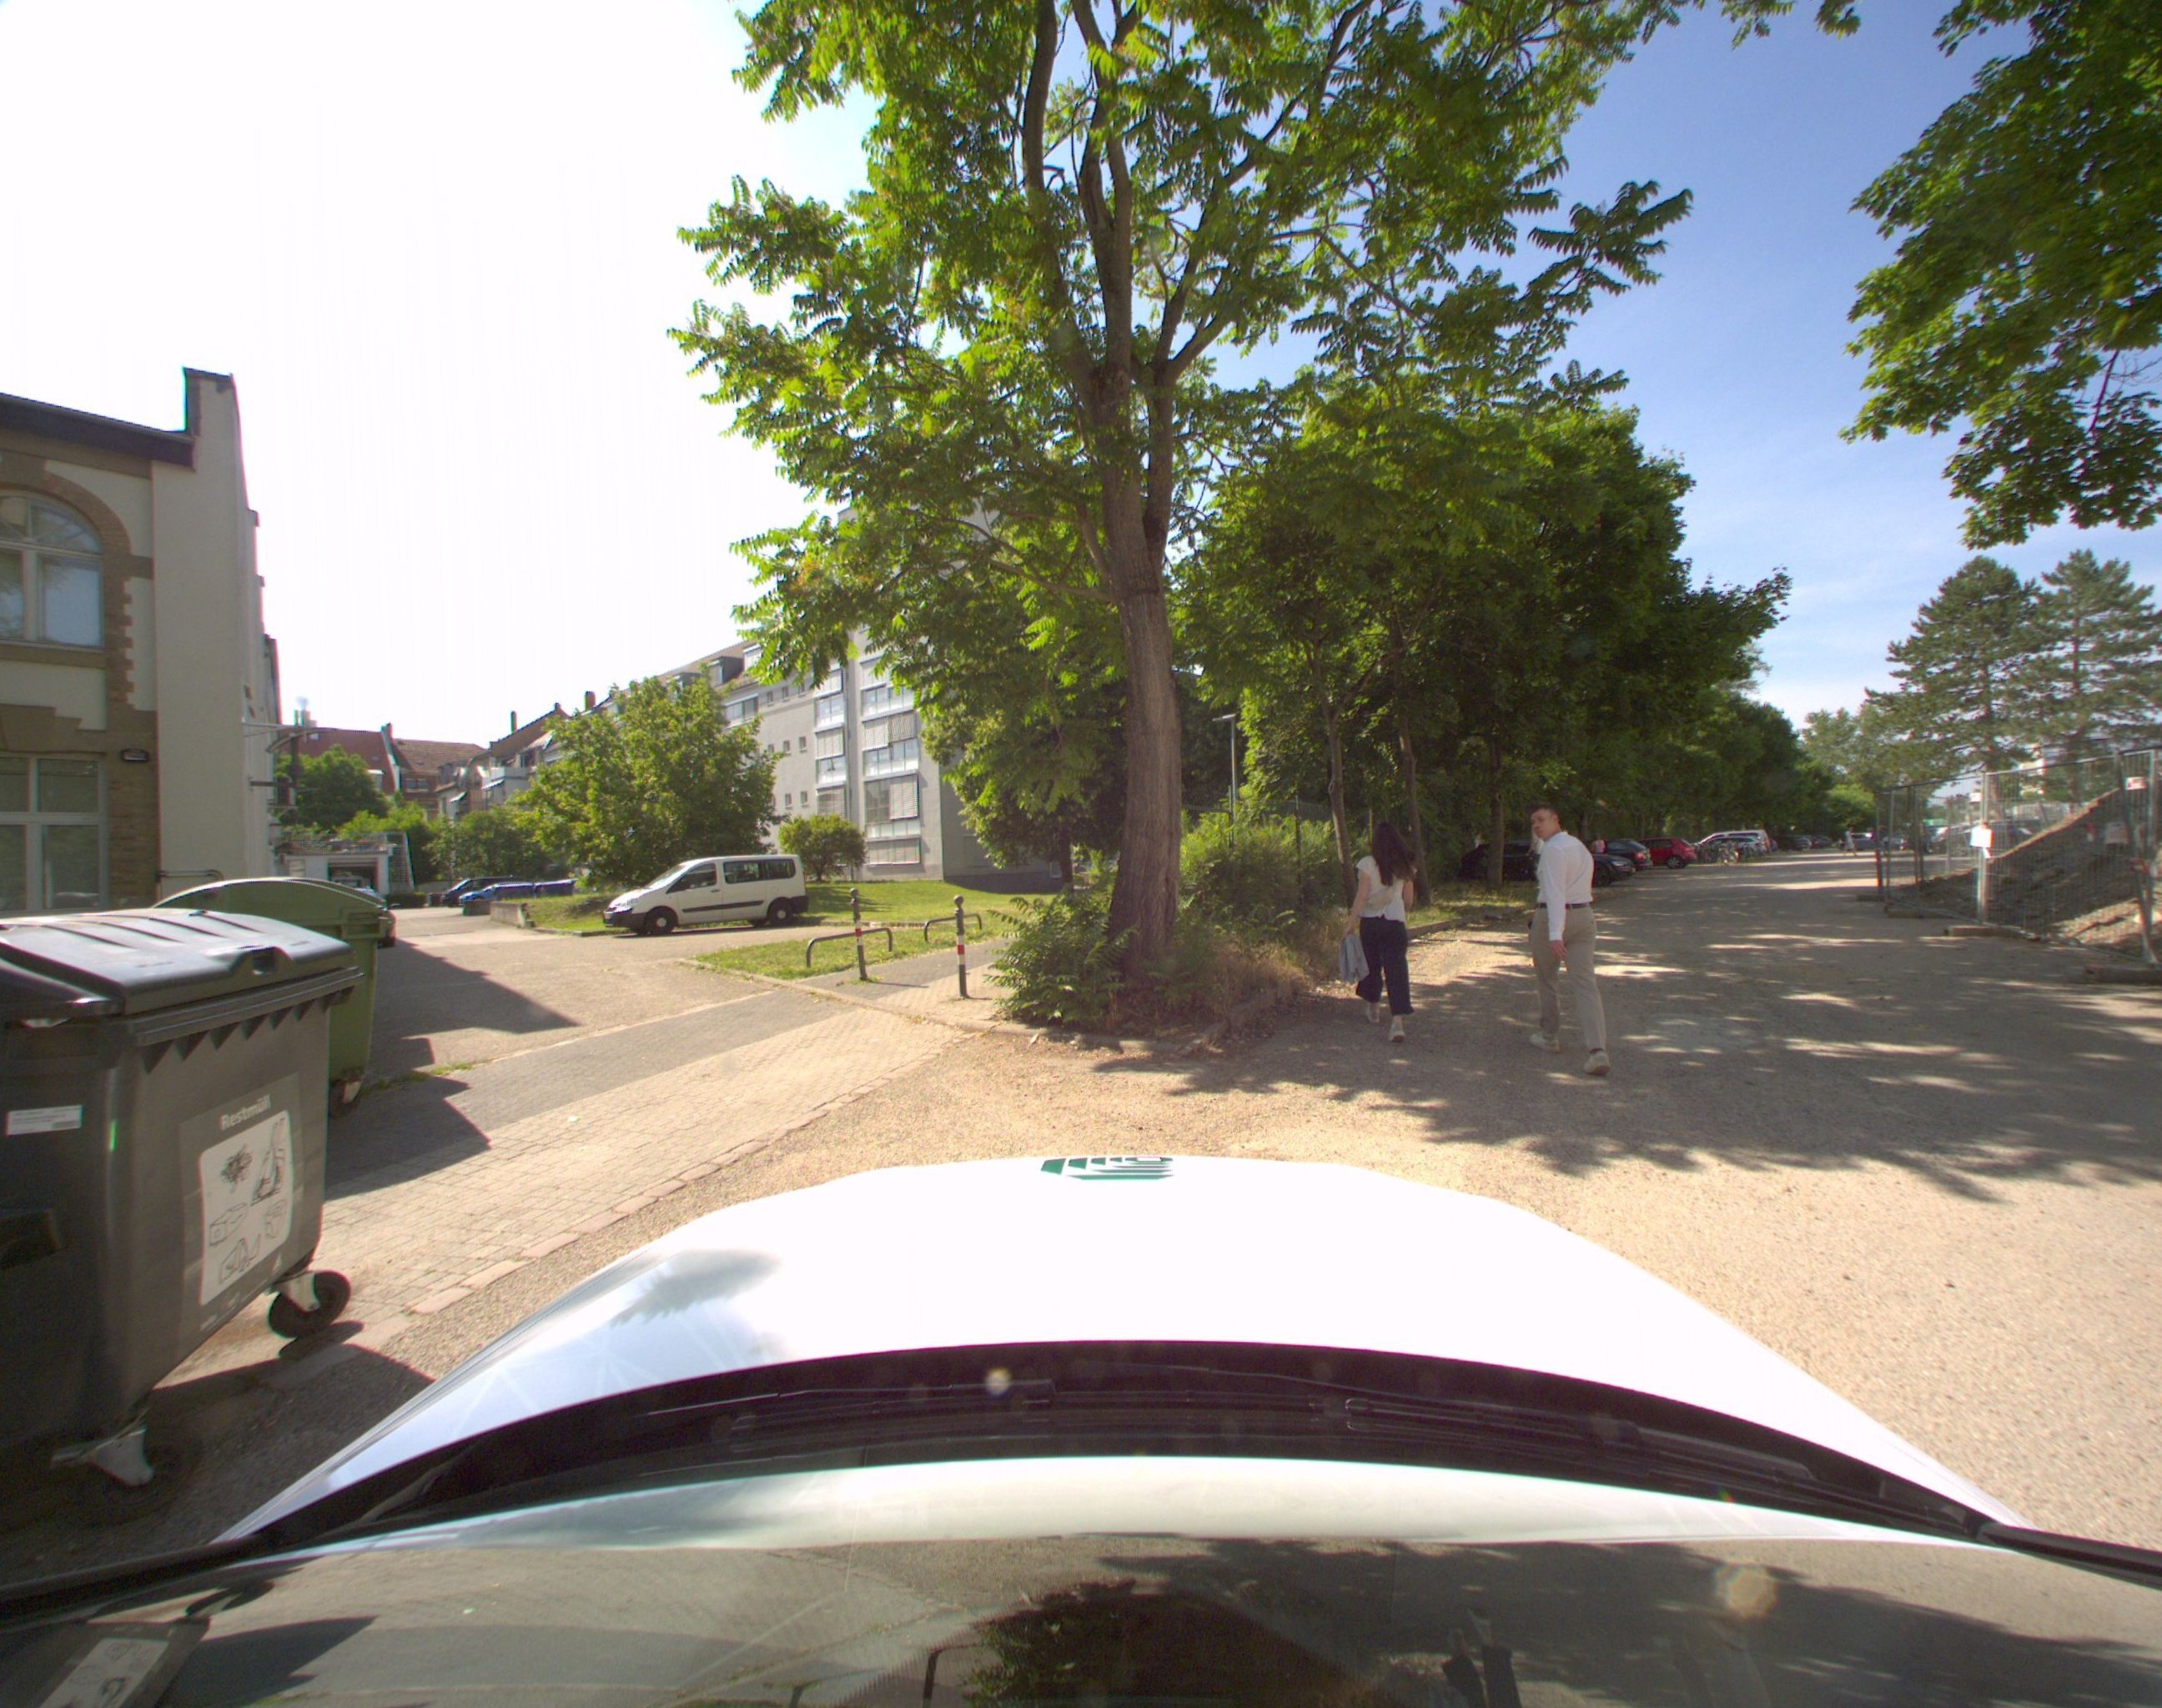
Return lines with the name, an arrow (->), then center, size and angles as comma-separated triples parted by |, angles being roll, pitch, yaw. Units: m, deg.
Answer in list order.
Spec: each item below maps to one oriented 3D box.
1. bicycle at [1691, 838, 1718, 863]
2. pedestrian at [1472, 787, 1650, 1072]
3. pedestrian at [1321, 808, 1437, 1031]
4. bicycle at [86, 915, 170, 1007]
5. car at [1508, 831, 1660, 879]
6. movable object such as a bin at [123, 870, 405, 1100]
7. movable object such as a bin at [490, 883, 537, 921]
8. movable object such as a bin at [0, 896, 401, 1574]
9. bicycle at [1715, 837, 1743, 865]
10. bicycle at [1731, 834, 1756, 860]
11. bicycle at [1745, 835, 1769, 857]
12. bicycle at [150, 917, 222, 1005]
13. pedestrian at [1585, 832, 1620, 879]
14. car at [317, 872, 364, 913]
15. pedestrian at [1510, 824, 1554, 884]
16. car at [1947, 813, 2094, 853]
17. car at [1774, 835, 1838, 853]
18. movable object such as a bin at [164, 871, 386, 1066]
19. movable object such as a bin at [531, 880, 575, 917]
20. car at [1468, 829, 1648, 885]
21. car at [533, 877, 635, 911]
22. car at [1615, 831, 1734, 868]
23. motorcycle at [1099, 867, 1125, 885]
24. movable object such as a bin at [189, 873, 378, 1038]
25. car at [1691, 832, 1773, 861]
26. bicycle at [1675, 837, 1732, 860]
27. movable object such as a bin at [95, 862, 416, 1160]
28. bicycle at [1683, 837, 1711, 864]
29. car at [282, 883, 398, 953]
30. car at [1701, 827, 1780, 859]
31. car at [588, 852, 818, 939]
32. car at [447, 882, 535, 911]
bicycle -> 34.363, -0.215, 44.879 | 0.809, 1.284, 2.700 | -2, 0, 45
pedestrian -> 3.149, 0.463, 5.432 | 0.750, 1.728, 0.857 | -2, 0, 13
pedestrian -> 2.326, 0.485, 6.441 | 0.730, 1.640, 0.784 | -2, 0, 14
bicycle -> -12.183, 1.328, 10.445 | 0.448, 0.992, 1.610 | -3, 1, -42
car -> 18.563, 0.048, 30.139 | 4.610, 1.584, 2.013 | -2, 1, 37
movable object such as a bin -> -6.061, 0.869, 6.070 | 1.207, 1.431, 1.256 | -3, -1, 35
movable object such as a bin -> -21.809, 1.836, 31.286 | 1.258, 1.319, 1.128 | -5, 0, -43
movable object such as a bin -> -2.899, 0.864, 2.235 | 1.251, 1.397, 1.392 | -2, -1, -26
bicycle -> 31.700, -0.153, 39.821 | 0.707, 1.284, 2.700 | -2, 0, 45
bicycle -> 35.066, -0.381, 43.079 | 0.707, 1.284, 2.652 | -2, 0, 45
bicycle -> 40.259, -0.490, 48.514 | 0.809, 1.284, 2.762 | -2, 0, 45
bicycle -> -11.868, 1.387, 10.829 | 0.448, 0.992, 1.522 | -3, 1, -42
pedestrian -> 18.272, 0.036, 28.519 | 0.916, 1.595, 0.791 | -2, 1, 37
car -> -52.048, 2.752, 57.190 | 2.194, 2.607, 6.650 | -3, -1, -44
pedestrian -> 13.589, 0.004, 24.541 | 1.004, 1.781, 0.825 | -2, 0, 36
car -> 42.624, -0.916, 37.095 | 1.768, 1.618, 4.261 | -2, 0, -42
car -> 64.778, -0.903, 72.816 | 1.662, 1.452, 3.955 | -2, 0, -37
movable object such as a bin -> -6.971, 0.898, 7.097 | 1.349, 1.431, 1.256 | -3, -1, 45
movable object such as a bin -> -20.808, 1.745, 32.105 | 1.258, 1.340, 1.128 | -2, -1, -42
car -> 14.866, 0.111, 25.470 | 4.610, 1.584, 2.013 | -2, 1, 37
car -> -25.022, 1.985, 41.084 | 1.789, 1.427, 4.025 | -3, 0, 43
car -> 27.677, -0.193, 38.029 | 4.246, 1.524, 1.904 | -2, 0, 44
motorcycle -> 2.327, 1.643, 60.900 | 2.074, 1.246, 0.622 | -2, -1, -43
movable object such as a bin -> -7.983, 0.939, 8.195 | 1.333, 1.431, 1.256 | -3, -1, 45
car -> 43.334, -0.458, 54.254 | 1.777, 1.772, 3.952 | -2, 0, -42
bicycle -> 37.650, -0.300, 49.264 | 2.649, 1.284, 0.824 | -2, 0, 39
movable object such as a bin -> -5.109, 0.826, 5.058 | 1.322, 1.481, 1.256 | -3, -1, 40
bicycle -> 31.225, -0.192, 41.251 | 0.707, 1.284, 2.807 | -2, 0, 45
car -> -17.822, 1.518, 19.514 | 1.853, 1.442, 4.374 | 0, -4, -45
car -> 45.537, -0.756, 56.309 | 1.777, 2.013, 3.952 | -2, 0, -42
car -> -9.798, 0.981, 21.411 | 5.069, 1.933, 1.975 | -2, -1, -43
car -> -38.295, 2.698, 52.918 | 1.975, 1.532, 4.269 | -2, 1, 42
